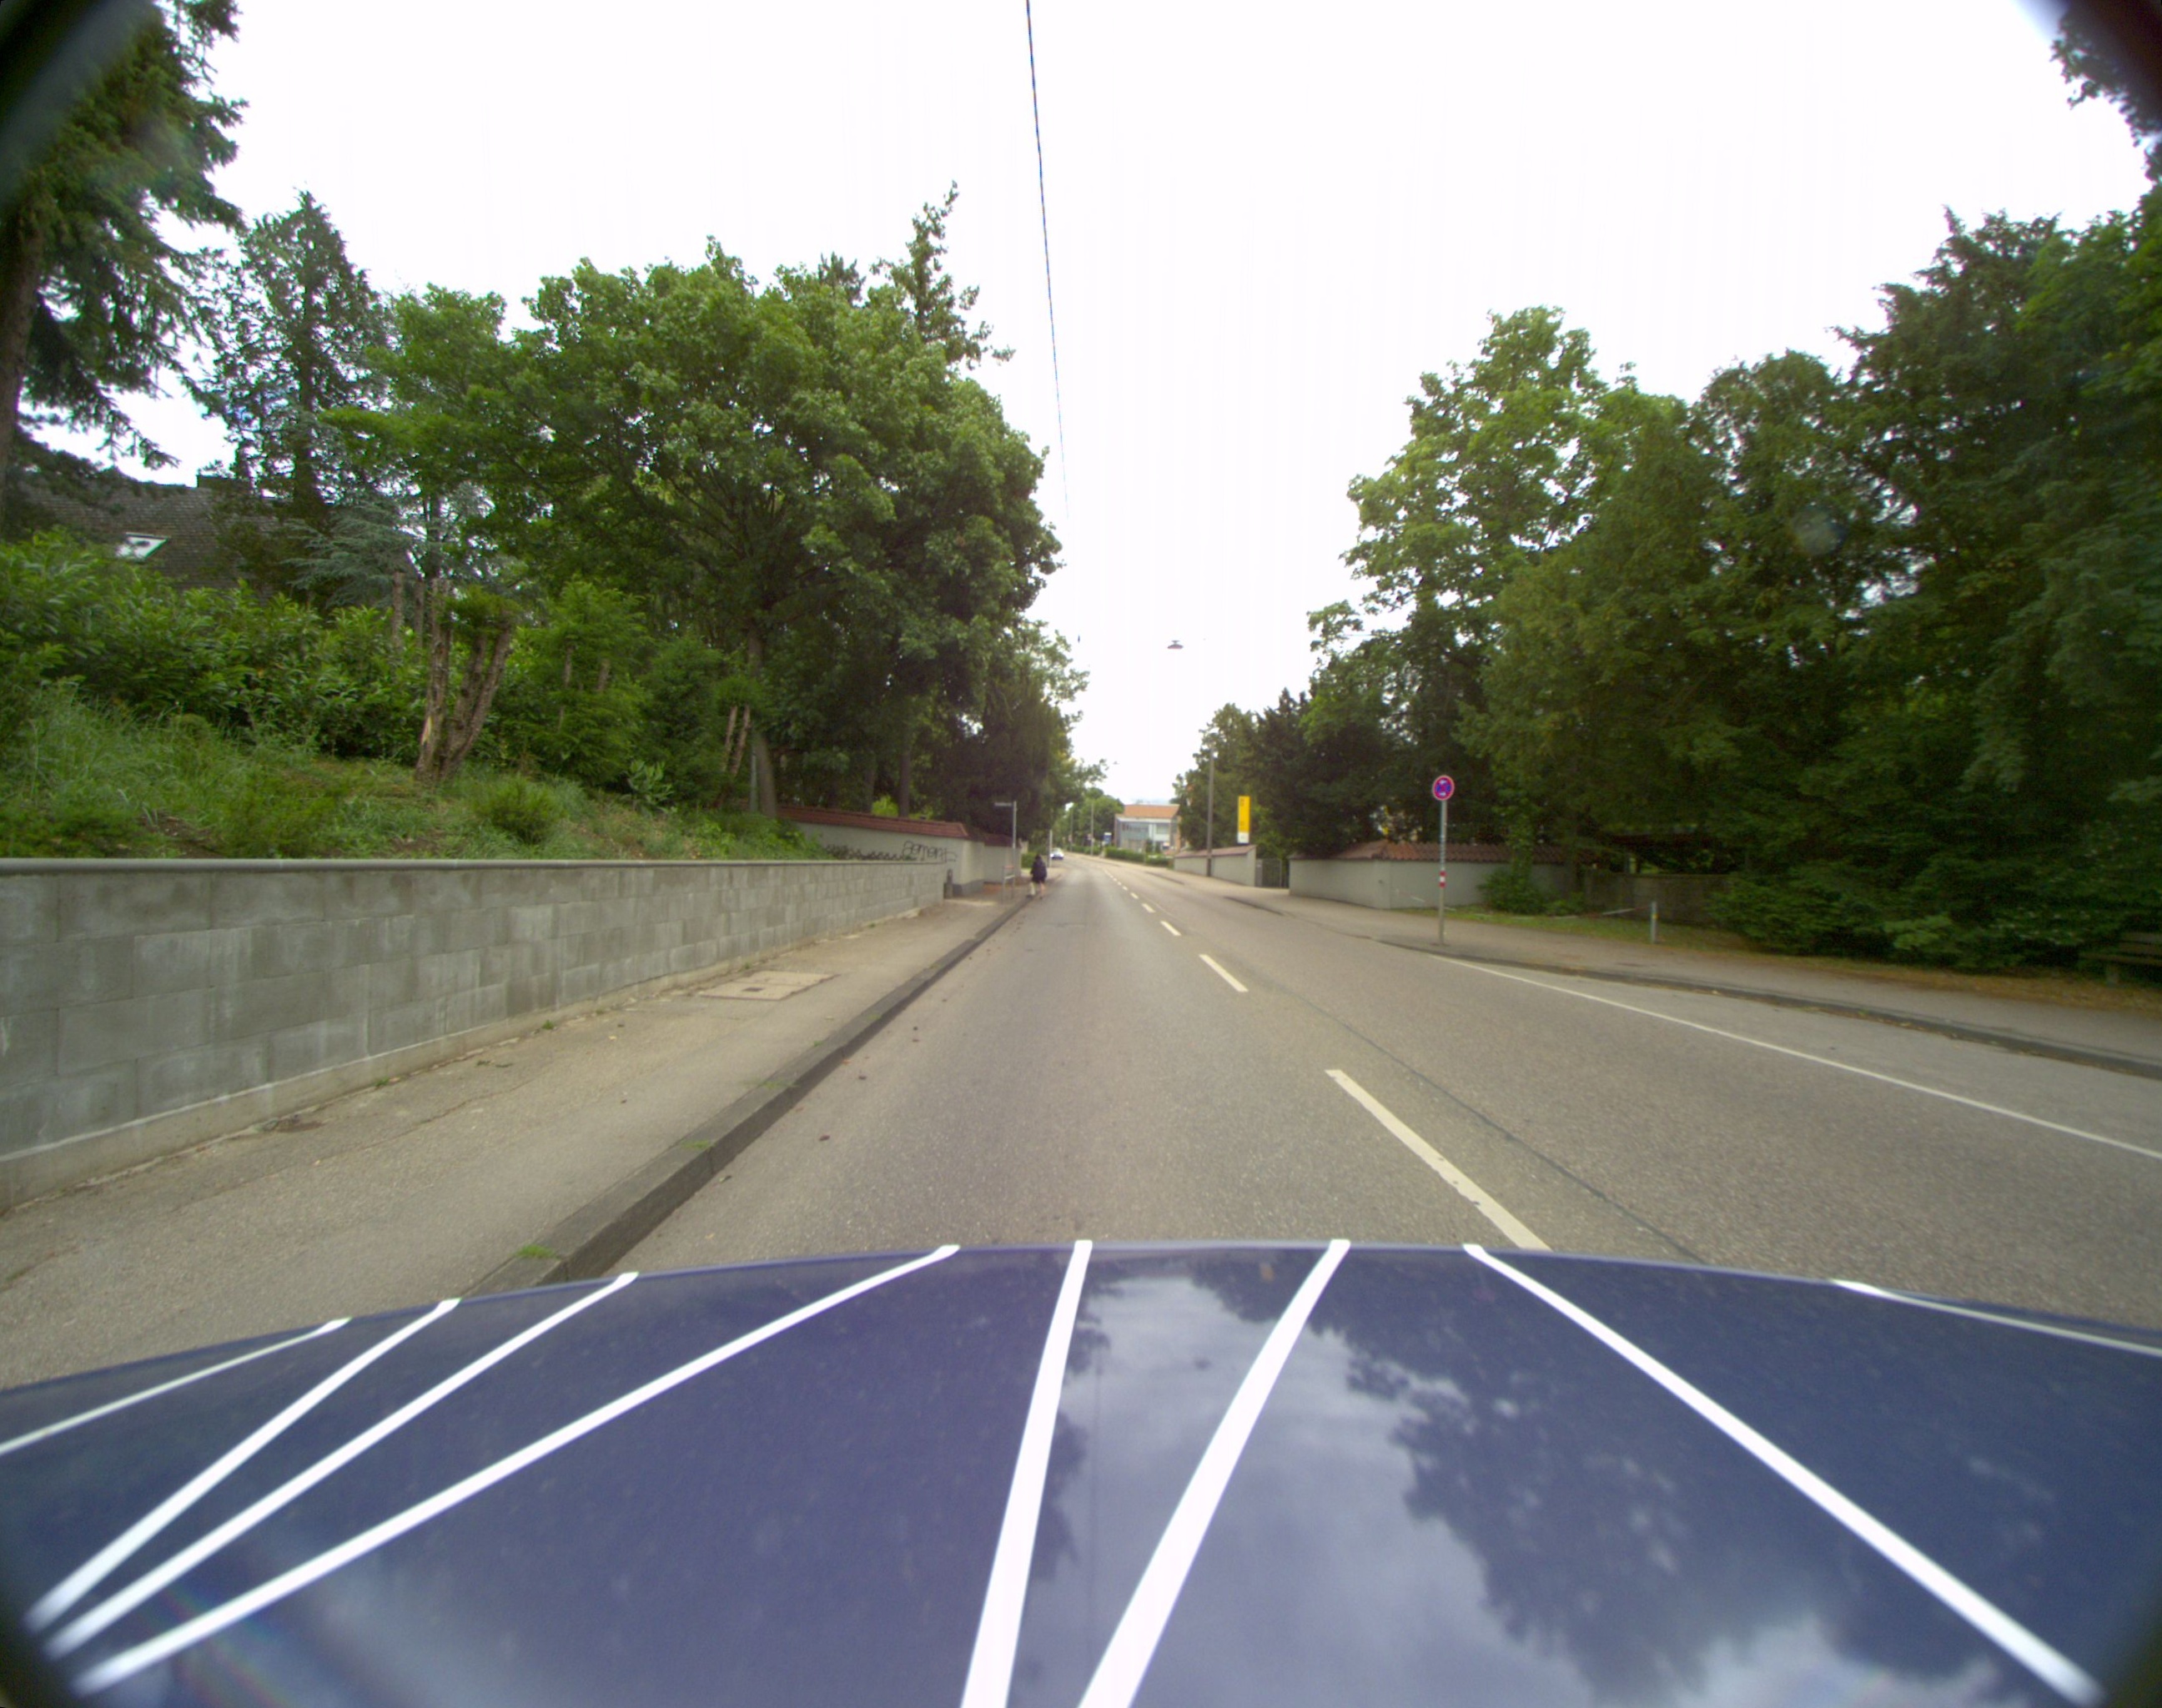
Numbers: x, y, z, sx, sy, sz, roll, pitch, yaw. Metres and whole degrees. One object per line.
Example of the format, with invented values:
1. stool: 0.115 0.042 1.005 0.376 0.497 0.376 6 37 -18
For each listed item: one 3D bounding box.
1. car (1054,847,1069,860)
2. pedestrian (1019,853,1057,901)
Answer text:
1. car: -2.803 -0.122 110.169 1.886 1.893 4.000 0 0 1
2. pedestrian: -1.459 0.754 25.582 0.930 1.551 0.900 0 1 -35
